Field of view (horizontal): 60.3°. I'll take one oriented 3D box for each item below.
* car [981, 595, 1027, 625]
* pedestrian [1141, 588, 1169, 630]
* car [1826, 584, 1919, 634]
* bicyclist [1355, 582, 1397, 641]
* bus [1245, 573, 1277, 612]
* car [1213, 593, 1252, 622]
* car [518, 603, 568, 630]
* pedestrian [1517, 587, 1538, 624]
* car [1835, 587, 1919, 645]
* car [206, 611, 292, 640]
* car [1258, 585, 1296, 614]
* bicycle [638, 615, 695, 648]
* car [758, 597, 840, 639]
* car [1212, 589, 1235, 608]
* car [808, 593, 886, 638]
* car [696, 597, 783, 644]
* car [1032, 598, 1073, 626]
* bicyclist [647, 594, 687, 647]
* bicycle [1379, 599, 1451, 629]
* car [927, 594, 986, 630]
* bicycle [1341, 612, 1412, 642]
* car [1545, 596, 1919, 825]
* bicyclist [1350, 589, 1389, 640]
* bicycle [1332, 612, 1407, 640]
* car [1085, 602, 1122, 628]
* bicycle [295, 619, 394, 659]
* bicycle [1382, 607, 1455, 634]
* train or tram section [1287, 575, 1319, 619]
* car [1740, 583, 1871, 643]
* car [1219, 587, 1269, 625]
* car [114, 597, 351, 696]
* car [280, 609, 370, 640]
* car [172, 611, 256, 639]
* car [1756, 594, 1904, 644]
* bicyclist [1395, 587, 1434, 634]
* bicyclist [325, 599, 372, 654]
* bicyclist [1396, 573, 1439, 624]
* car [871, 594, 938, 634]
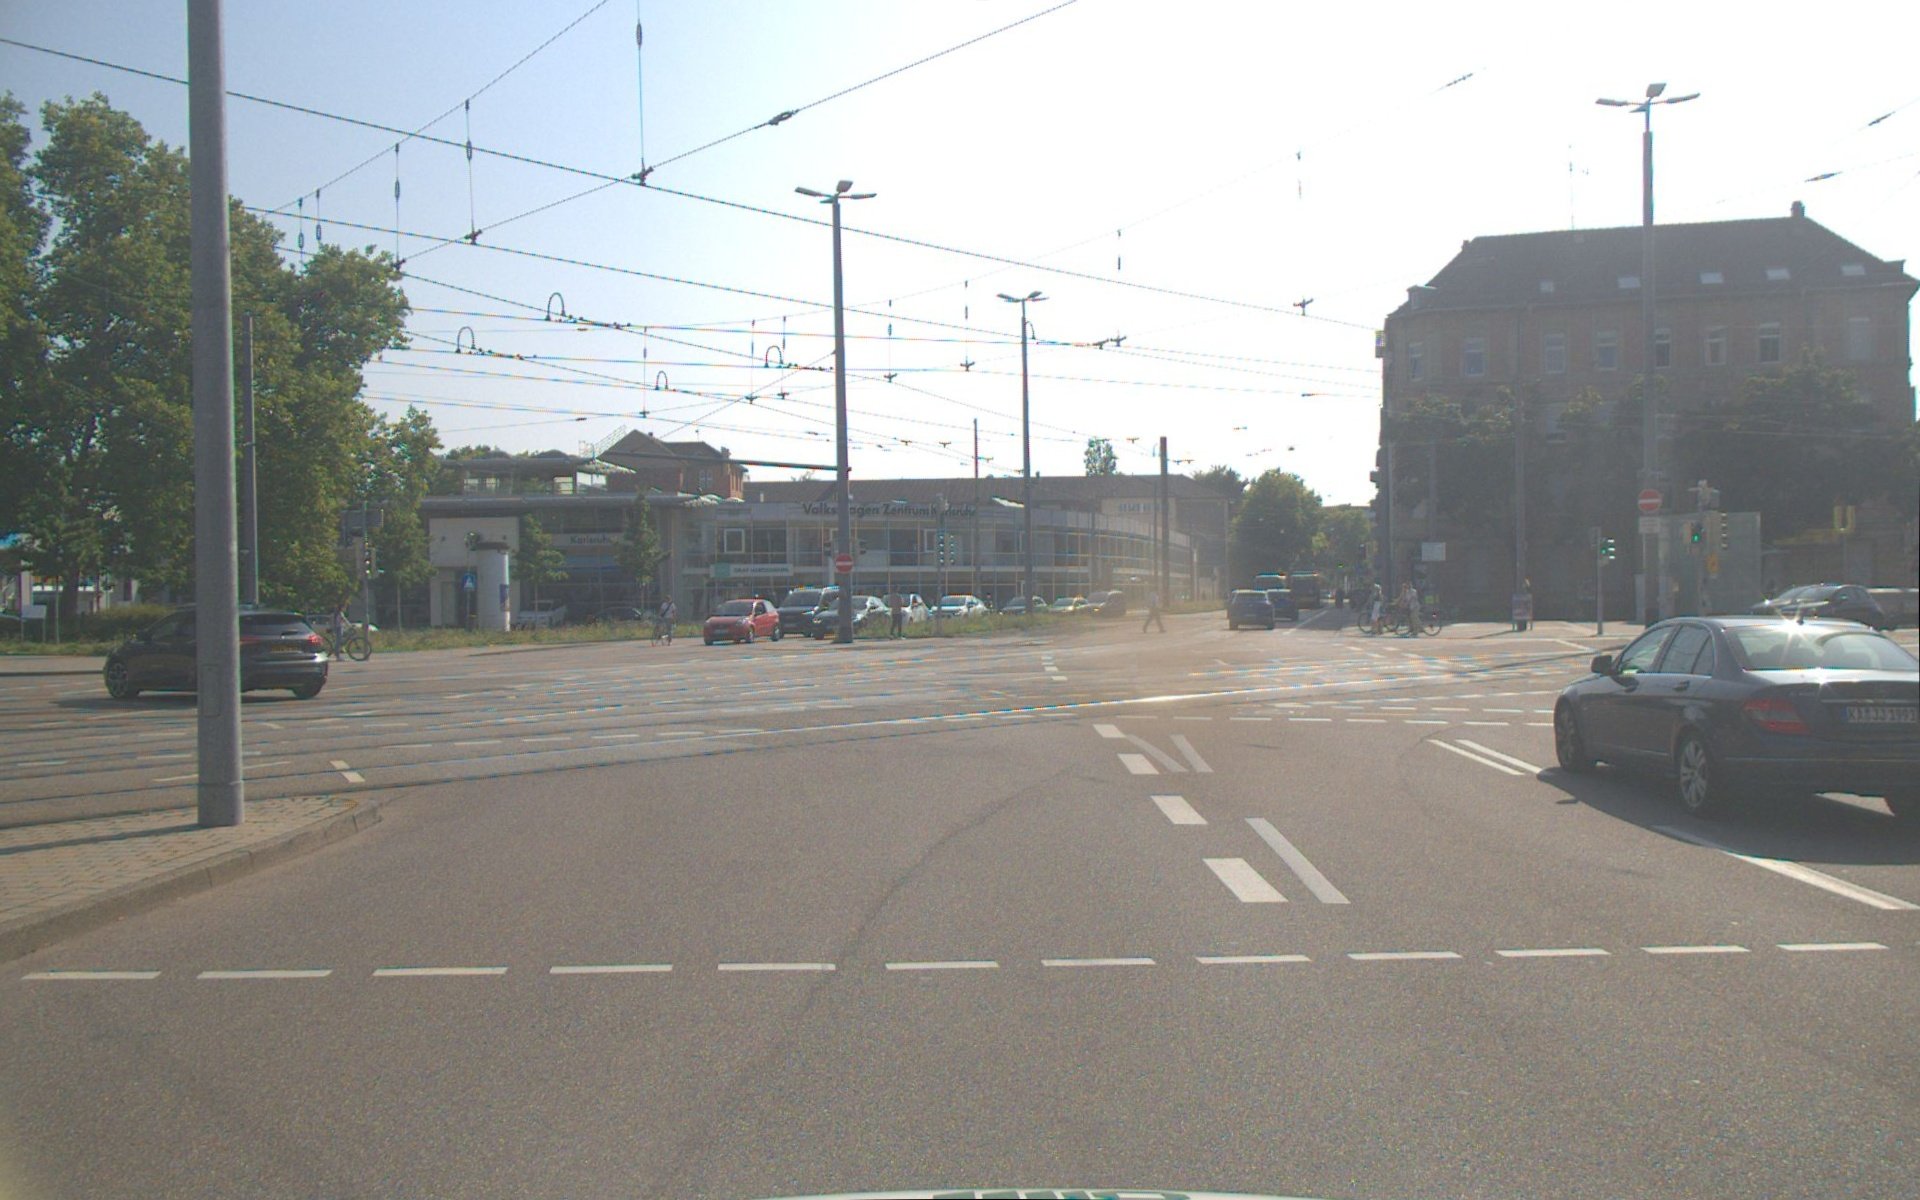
[{"bbox_3d":[2.431,0.527,89.644,1.580,1.501,4.003,-3,-1,14],"label":"car"},{"bbox_3d":[7.291,0.333,61.878,0.767,1.529,0.705,-1,0,-24],"label":"pedestrian"},{"bbox_3d":[35.998,0.329,64.279,4.199,1.891,1.919,0,0,-22],"label":"car"},{"bbox_3d":[14.661,0.397,58.337,0.928,2.059,1.078,-1,0,-39],"label":"bicyclist"},{"bbox_3d":[30.000,-0.720,165.332,2.858,3.682,16.760,-1,0,9],"label":"bus"},{"bbox_3d":[15.505,0.433,94.118,1.786,1.562,4.416,-1,0,14],"label":"car"},{"bbox_3d":[-24.021,0.939,95.422,1.664,1.549,4.101,-1,0,3],"label":"car"},{"bbox_3d":[22.850,0.218,66.587,0.537,1.496,0.663,-1,0,44],"label":"pedestrian"},{"bbox_3d":[32.377,0.519,56.726,4.639,1.891,1.893,0,0,-28],"label":"car"},{"bbox_3d":[-41.192,1.464,95.899,1.667,1.549,4.507,-1,0,29],"label":"car"},{"bbox_3d":[16.339,-0.041,85.165,1.786,1.453,4.416,-1,0,13],"label":"car"},{"bbox_3d":[-10.070,1.056,56.827,0.937,1.075,2.610,-1,0,14],"label":"bicycle"},{"bbox_3d":[-6.170,0.674,63.924,1.919,1.501,4.003,-3,-1,13],"label":"car"},{"bbox_3d":[22.704,-0.142,142.494,1.580,1.501,4.003,-3,-1,14],"label":"car"},{"bbox_3d":[-3.992,0.538,58.946,1.580,1.501,4.003,-3,-1,13],"label":"car"},{"bbox_3d":[-7.509,0.681,56.665,1.580,1.501,4.003,-3,-1,13],"label":"car"},{"bbox_3d":[5.429,0.674,96.817,1.580,1.501,4.003,-3,-1,14],"label":"car"},{"bbox_3d":[-10.065,0.694,56.854,0.937,1.779,1.167,-1,0,14],"label":"bicyclist"},{"bbox_3d":[15.589,0.473,56.658,2.601,0.981,1.078,-1,0,-39],"label":"bicycle"},{"bbox_3d":[-0.141,0.516,72.894,1.580,1.501,4.003,-3,-1,14],"label":"car"},{"bbox_3d":[14.705,0.950,58.360,2.601,0.981,1.078,-1,0,-39],"label":"bicycle"},{"bbox_3d":[6.146,0.717,13.006,1.648,1.468,4.373,-1,0,2],"label":"car"},{"bbox_3d":[15.014,0.516,60.637,0.922,1.831,1.084,-1,0,-25],"label":"bicyclist"},{"bbox_3d":[15.033,0.944,60.646,2.586,0.981,1.084,-1,0,-26],"label":"bicycle"},{"bbox_3d":[8.910,0.925,102.445,1.580,1.501,4.003,-3,-1,14],"label":"car"},{"bbox_3d":[-17.612,1.101,47.421,2.557,1.075,0.957,-1,0,-16],"label":"bicycle"},{"bbox_3d":[17.258,0.757,62.281,2.586,0.981,1.084,-1,0,-26],"label":"bicycle"},{"bbox_3d":[31.118,-0.320,150.113,2.598,3.764,10.599,-1,0,12],"label":"train or tram section"},{"bbox_3d":[27.935,0.413,54.613,4.191,1.891,1.891,0,0,-30],"label":"car"},{"bbox_3d":[11.606,0.212,67.405,1.786,1.453,4.416,-1,0,12],"label":"car"},{"bbox_3d":[-11.731,0.700,26.537,4.469,1.460,1.827,-1,0,42],"label":"car"},{"bbox_3d":[-32.772,1.260,85.429,4.000,1.549,1.706,-1,0,3],"label":"car"},{"bbox_3d":[-44.349,1.483,98.415,1.667,1.549,4.507,-1,0,29],"label":"car"},{"bbox_3d":[26.478,0.557,50.337,4.326,1.421,2.004,0,0,-30],"label":"car"},{"bbox_3d":[17.083,0.386,62.191,0.922,1.709,1.084,-1,0,-25],"label":"bicyclist"},{"bbox_3d":[-17.523,0.760,47.452,1.143,1.554,0.957,1,-1,-15],"label":"bicyclist"},{"bbox_3d":[15.689,-0.050,56.752,0.928,1.738,1.078,-1,0,-39],"label":"bicyclist"},{"bbox_3d":[-2.163,0.537,65.694,1.580,1.501,4.003,-3,-1,13],"label":"car"}]
